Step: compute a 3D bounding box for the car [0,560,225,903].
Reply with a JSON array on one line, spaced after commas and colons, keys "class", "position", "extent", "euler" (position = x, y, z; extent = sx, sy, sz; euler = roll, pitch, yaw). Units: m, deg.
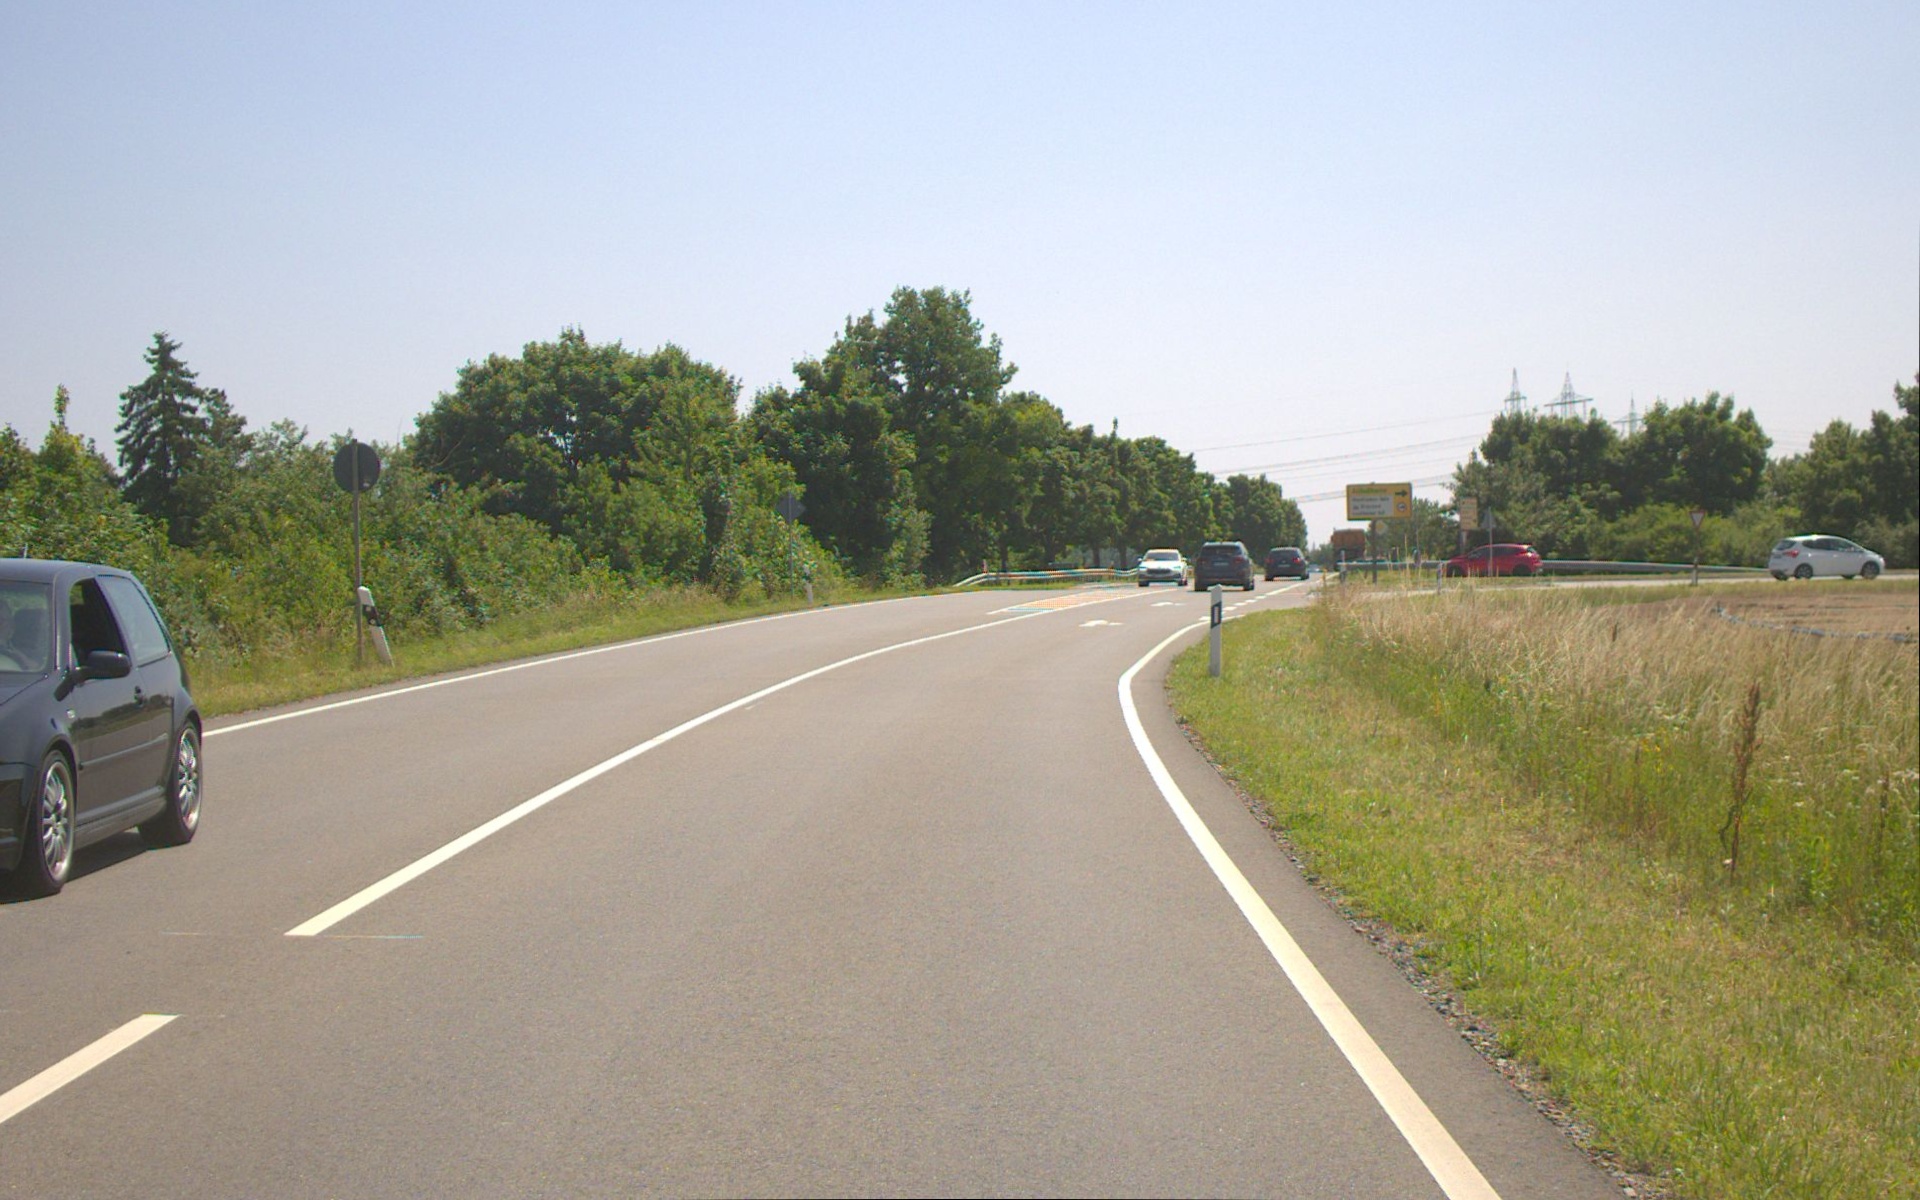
[{"class": "car", "position": [-4.577, 0.499, 15.612], "extent": [1.692, 1.358, 3.826], "euler": [1, 1, -1]}]

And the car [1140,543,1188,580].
[{"class": "car", "position": [8.197, -1.543, 137.631], "extent": [1.836, 1.414, 4.715], "euler": [1, 1, 4]}]

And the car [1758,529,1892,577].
[{"class": "car", "position": [30.729, -1.666, 122.172], "extent": [4.127, 1.618, 2.072], "euler": [-1, 1, -14]}]

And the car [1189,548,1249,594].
[{"class": "car", "position": [8.842, -0.985, 117.237], "extent": [1.885, 1.513, 4.039], "euler": [1, 1, 6]}]

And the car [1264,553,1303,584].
[{"class": "car", "position": [14.360, -1.418, 152.657], "extent": [1.644, 1.336, 4.039], "euler": [1, 1, 6]}]

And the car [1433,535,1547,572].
[{"class": "car", "position": [20.792, -1.814, 134.862], "extent": [4.157, 1.414, 1.777], "euler": [0, 0, 22]}]
